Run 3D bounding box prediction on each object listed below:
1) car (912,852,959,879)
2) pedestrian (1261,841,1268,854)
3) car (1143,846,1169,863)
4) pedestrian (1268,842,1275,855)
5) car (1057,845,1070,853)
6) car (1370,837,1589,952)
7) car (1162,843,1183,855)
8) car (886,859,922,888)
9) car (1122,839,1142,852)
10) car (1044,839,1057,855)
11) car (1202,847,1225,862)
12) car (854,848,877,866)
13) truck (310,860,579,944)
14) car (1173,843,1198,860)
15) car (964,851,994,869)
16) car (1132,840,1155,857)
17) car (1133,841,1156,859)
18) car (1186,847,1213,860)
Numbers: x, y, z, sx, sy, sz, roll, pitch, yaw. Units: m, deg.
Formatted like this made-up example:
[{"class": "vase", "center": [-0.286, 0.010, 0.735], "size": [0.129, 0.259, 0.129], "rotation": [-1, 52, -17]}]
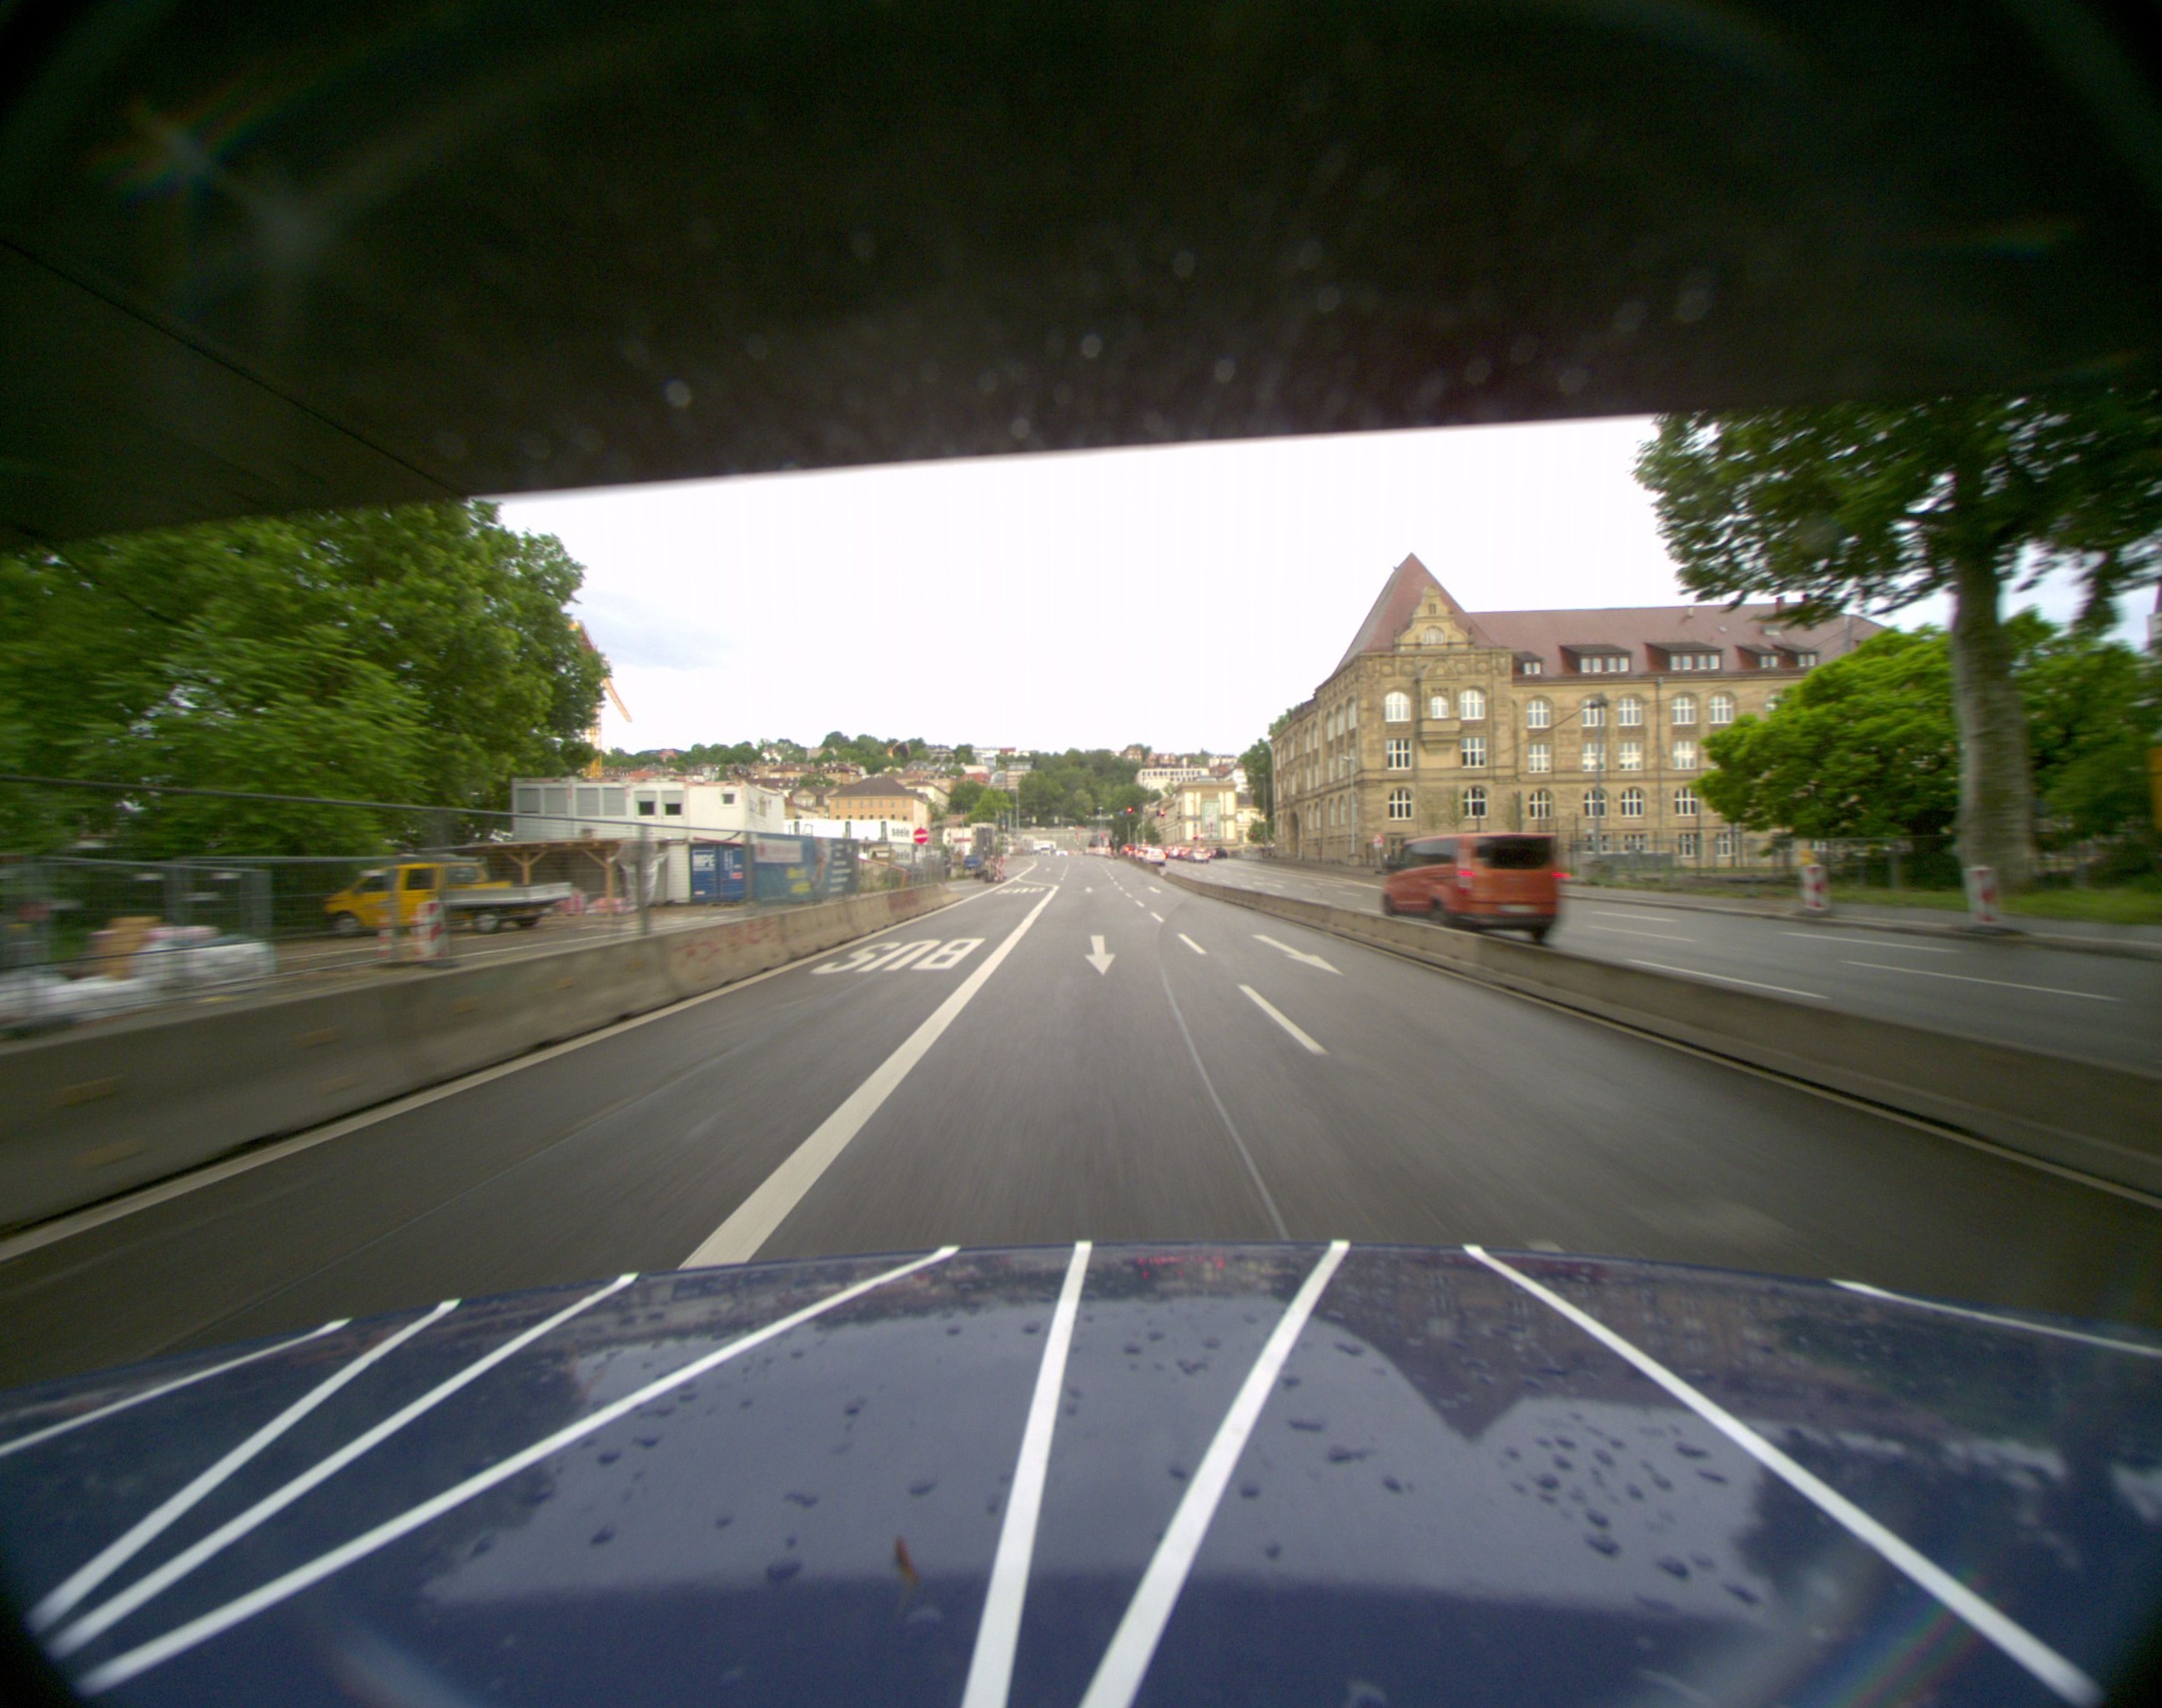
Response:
[{"class": "car", "center": [-10.397, 0.766, 54.730], "size": [1.925, 1.640, 4.414], "rotation": [4, 2, 7]}, {"class": "pedestrian", "center": [23.537, -0.821, 97.501], "size": [0.618, 1.575, 0.734], "rotation": [1, 2, 0]}, {"class": "car", "center": [7.231, 0.012, 73.725], "size": [1.899, 1.558, 4.896], "rotation": [1, 2, -2]}, {"class": "pedestrian", "center": [24.396, -0.687, 97.172], "size": [0.618, 1.575, 0.734], "rotation": [0, 2, -7]}, {"class": "car", "center": [-3.260, -0.943, 142.580], "size": [2.000, 1.561, 3.996], "rotation": [0, 2, -8]}, {"class": "car", "center": [7.717, 0.630, 15.442], "size": [2.035, 1.925, 5.044], "rotation": [1, 2, 4]}, {"class": "car", "center": [11.942, -0.669, 99.132], "size": [1.999, 1.374, 4.209], "rotation": [1, 2, -4]}, {"class": "car", "center": [-11.265, 1.223, 48.544], "size": [1.857, 1.477, 3.994], "rotation": [0, 4, -7]}, {"class": "car", "center": [6.757, -1.115, 100.717], "size": [1.999, 1.558, 5.379], "rotation": [1, 2, -3]}, {"class": "car", "center": [-7.859, -1.960, 197.017], "size": [2.836, 3.991, 8.722], "rotation": [1, 2, 1]}, {"class": "car", "center": [18.257, 0.089, 104.845], "size": [2.000, 2.002, 3.996], "rotation": [0, 2, -8]}, {"class": "car", "center": [-24.400, 0.314, 86.169], "size": [2.020, 1.890, 4.649], "rotation": [0, 1, -9]}, {"class": "truck", "center": [-17.361, 1.244, 21.050], "size": [5.169, 2.002, 2.407], "rotation": [-1, 2, -7]}, {"class": "car", "center": [12.699, -0.295, 92.582], "size": [2.000, 2.002, 3.996], "rotation": [0, 2, -8]}, {"class": "car", "center": [-9.081, 0.495, 67.865], "size": [1.837, 1.433, 4.413], "rotation": [-2, 1, 3]}, {"class": "car", "center": [7.176, -0.706, 87.367], "size": [1.999, 1.856, 5.593], "rotation": [1, 2, -2]}, {"class": "car", "center": [6.737, -0.460, 80.907], "size": [1.914, 1.856, 4.377], "rotation": [1, 2, -2]}, {"class": "car", "center": [13.187, -0.055, 84.632], "size": [1.999, 1.374, 4.208], "rotation": [1, 2, -5]}]
